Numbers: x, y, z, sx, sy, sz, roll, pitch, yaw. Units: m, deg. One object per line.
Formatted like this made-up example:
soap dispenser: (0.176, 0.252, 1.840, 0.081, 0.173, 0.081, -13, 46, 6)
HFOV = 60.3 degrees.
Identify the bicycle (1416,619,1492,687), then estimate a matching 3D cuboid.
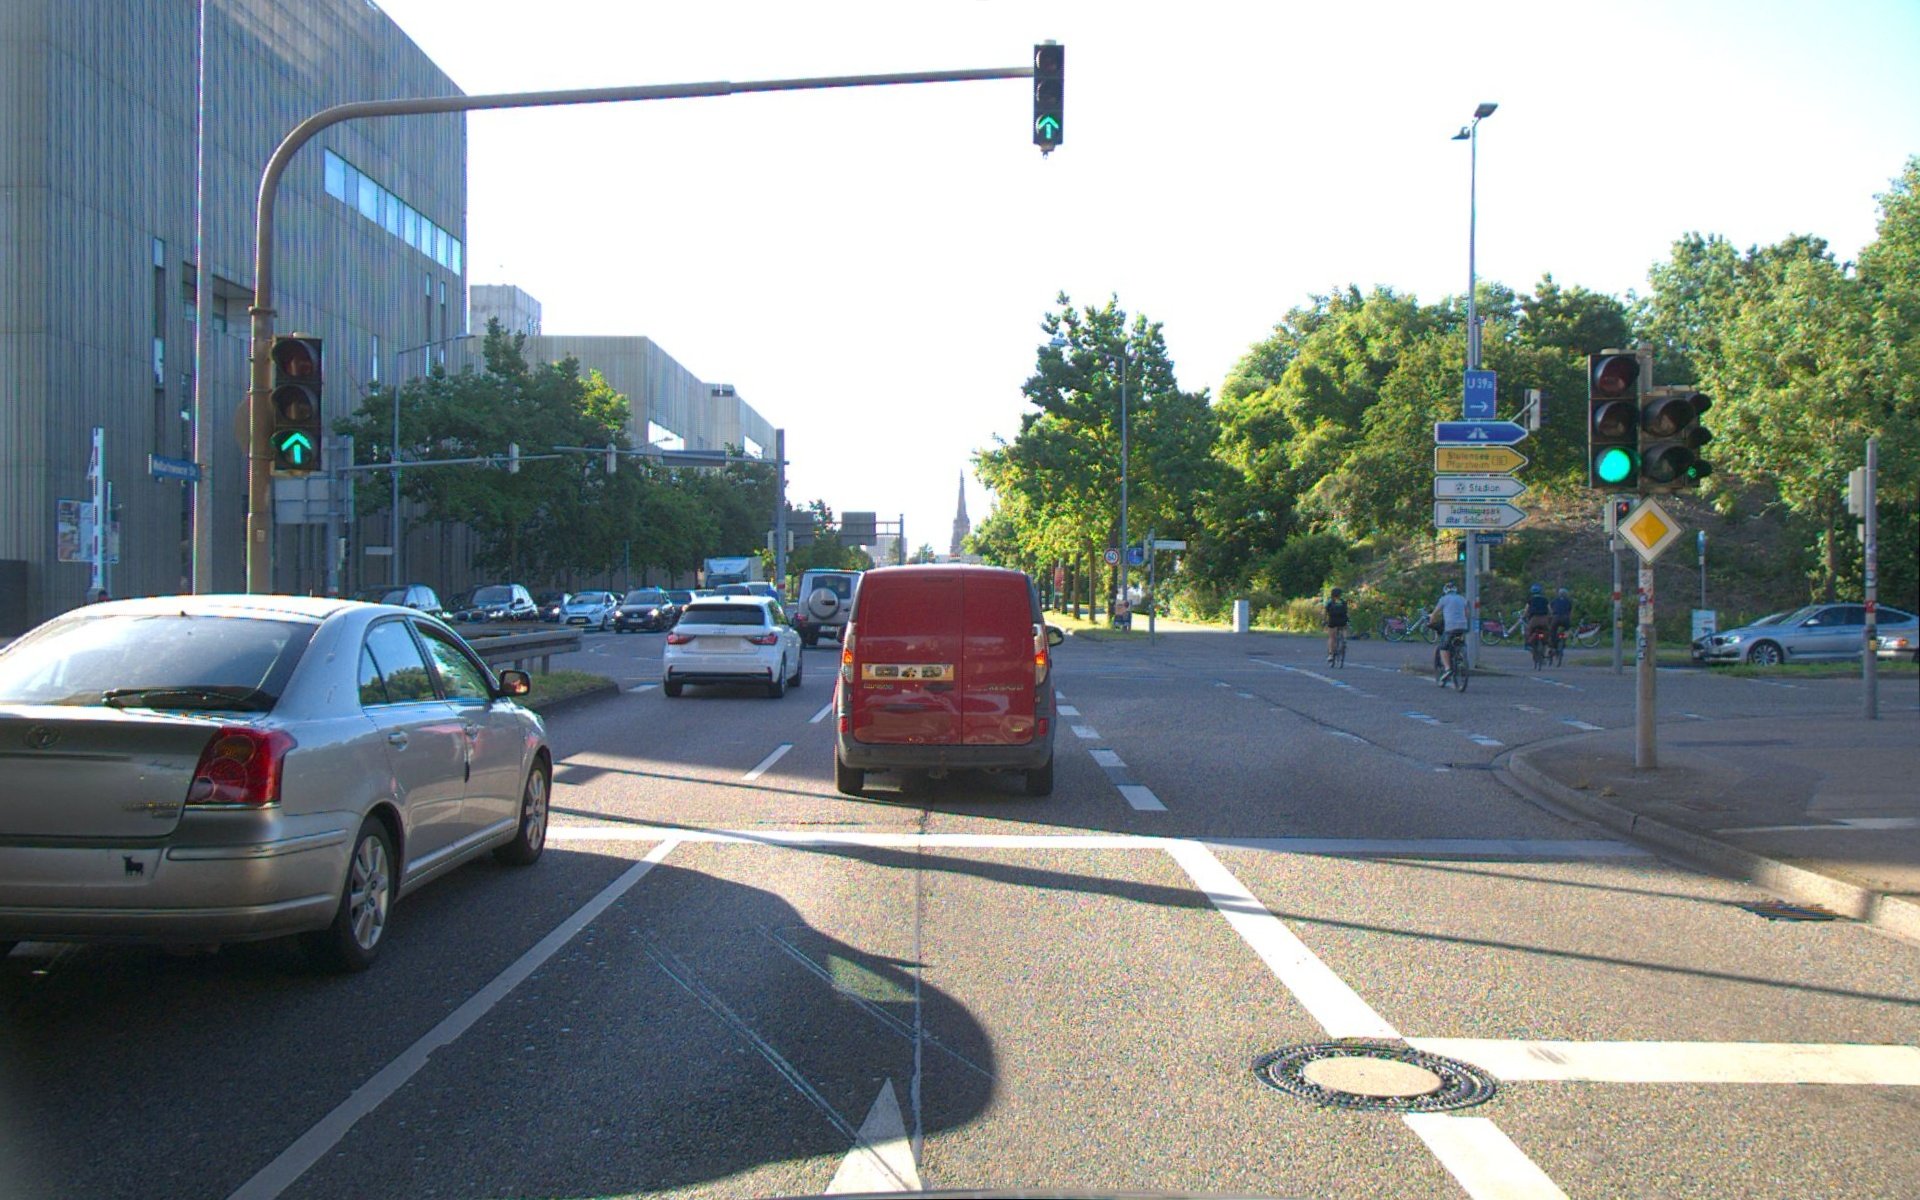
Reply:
bicycle: (7.953, 0.847, 26.700, 0.580, 1.041, 1.749, 1, -1, -4)

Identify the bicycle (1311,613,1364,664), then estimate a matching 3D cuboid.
bicycle: (7.896, 0.807, 34.659, 0.580, 1.041, 1.749, 1, -1, -4)

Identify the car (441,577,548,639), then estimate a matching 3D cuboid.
car: (-13.503, 0.233, 48.204, 1.787, 1.654, 4.529, -2, 0, 0)

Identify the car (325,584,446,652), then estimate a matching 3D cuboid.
car: (-16.249, 0.496, 47.001, 1.787, 1.768, 4.628, -2, 0, -1)

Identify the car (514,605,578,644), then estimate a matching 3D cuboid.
car: (-16.442, 0.951, 65.861, 1.613, 1.459, 3.492, -2, 0, 0)

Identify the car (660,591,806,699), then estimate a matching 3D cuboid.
car: (-3.295, 0.622, 24.646, 1.777, 1.463, 3.729, 1, 0, -2)

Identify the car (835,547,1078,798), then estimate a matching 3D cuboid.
car: (-0.070, 0.582, 14.251, 1.768, 1.826, 3.998, 1, -1, -1)

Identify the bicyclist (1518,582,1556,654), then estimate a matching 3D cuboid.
bicyclist: (12.237, 0.379, 35.088, 0.650, 1.500, 0.751, 1, -2, 11)

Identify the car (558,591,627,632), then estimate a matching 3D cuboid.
car: (-13.692, 0.429, 61.803, 1.613, 1.429, 3.978, -2, 0, 0)

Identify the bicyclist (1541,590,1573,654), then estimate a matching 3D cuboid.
bicyclist: (14.223, 0.528, 39.398, 0.635, 1.507, 0.619, 1, 0, 12)

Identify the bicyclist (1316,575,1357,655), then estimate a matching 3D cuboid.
bicyclist: (7.889, 0.324, 34.666, 0.580, 1.642, 0.941, 1, -1, -4)

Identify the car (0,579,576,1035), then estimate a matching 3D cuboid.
car: (-3.138, 0.712, 7.640, 1.697, 1.506, 4.318, 0, -1, 0)

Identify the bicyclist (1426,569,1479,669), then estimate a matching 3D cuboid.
bicyclist: (7.938, 0.306, 26.680, 0.580, 1.576, 0.768, 1, -1, -5)

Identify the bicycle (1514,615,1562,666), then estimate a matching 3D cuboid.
bicycle: (12.233, 0.863, 35.058, 0.657, 1.041, 2.057, 1, -1, 11)

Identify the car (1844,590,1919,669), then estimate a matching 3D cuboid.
car: (20.511, 0.631, 33.277, 4.452, 1.540, 1.829, 1, -1, 6)

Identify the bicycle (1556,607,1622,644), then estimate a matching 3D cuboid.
bicycle: (18.306, 0.756, 48.153, 1.707, 1.041, 0.594, 1, -1, 10)

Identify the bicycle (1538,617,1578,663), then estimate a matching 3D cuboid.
bicycle: (14.210, 0.946, 39.338, 0.653, 1.041, 1.752, 0, 0, 12)

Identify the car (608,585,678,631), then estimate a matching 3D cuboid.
car: (-10.984, 0.275, 57.534, 1.602, 1.468, 4.076, -2, 0, 0)

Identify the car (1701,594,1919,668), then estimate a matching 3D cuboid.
car: (19.063, 0.689, 36.703, 4.452, 1.540, 1.829, 1, -1, 6)

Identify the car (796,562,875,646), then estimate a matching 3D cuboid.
car: (-3.175, 0.159, 42.807, 1.764, 2.024, 4.587, 1, -1, -1)

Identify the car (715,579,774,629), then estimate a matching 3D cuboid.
car: (-8.414, 0.161, 64.862, 1.721, 1.828, 4.082, -2, 0, -1)

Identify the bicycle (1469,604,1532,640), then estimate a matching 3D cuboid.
bicycle: (16.037, 0.662, 49.089, 1.707, 1.041, 0.594, 1, -1, 8)

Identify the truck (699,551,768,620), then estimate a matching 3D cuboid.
truck: (-10.775, -0.669, 79.247, 2.360, 3.079, 6.655, -2, 0, 0)

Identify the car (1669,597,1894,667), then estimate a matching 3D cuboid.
car: (19.474, 0.755, 39.359, 4.452, 1.540, 1.829, 1, -1, 6)

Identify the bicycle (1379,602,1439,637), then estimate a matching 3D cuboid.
bicycle: (13.698, 0.593, 50.466, 1.707, 1.041, 0.594, 1, -1, 8)

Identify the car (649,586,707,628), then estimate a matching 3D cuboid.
car: (-10.754, 0.261, 63.283, 1.603, 1.468, 4.075, -2, 0, -2)

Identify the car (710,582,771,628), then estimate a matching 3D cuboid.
car: (-7.632, 0.175, 57.707, 1.602, 1.468, 3.718, -2, 0, -1)
